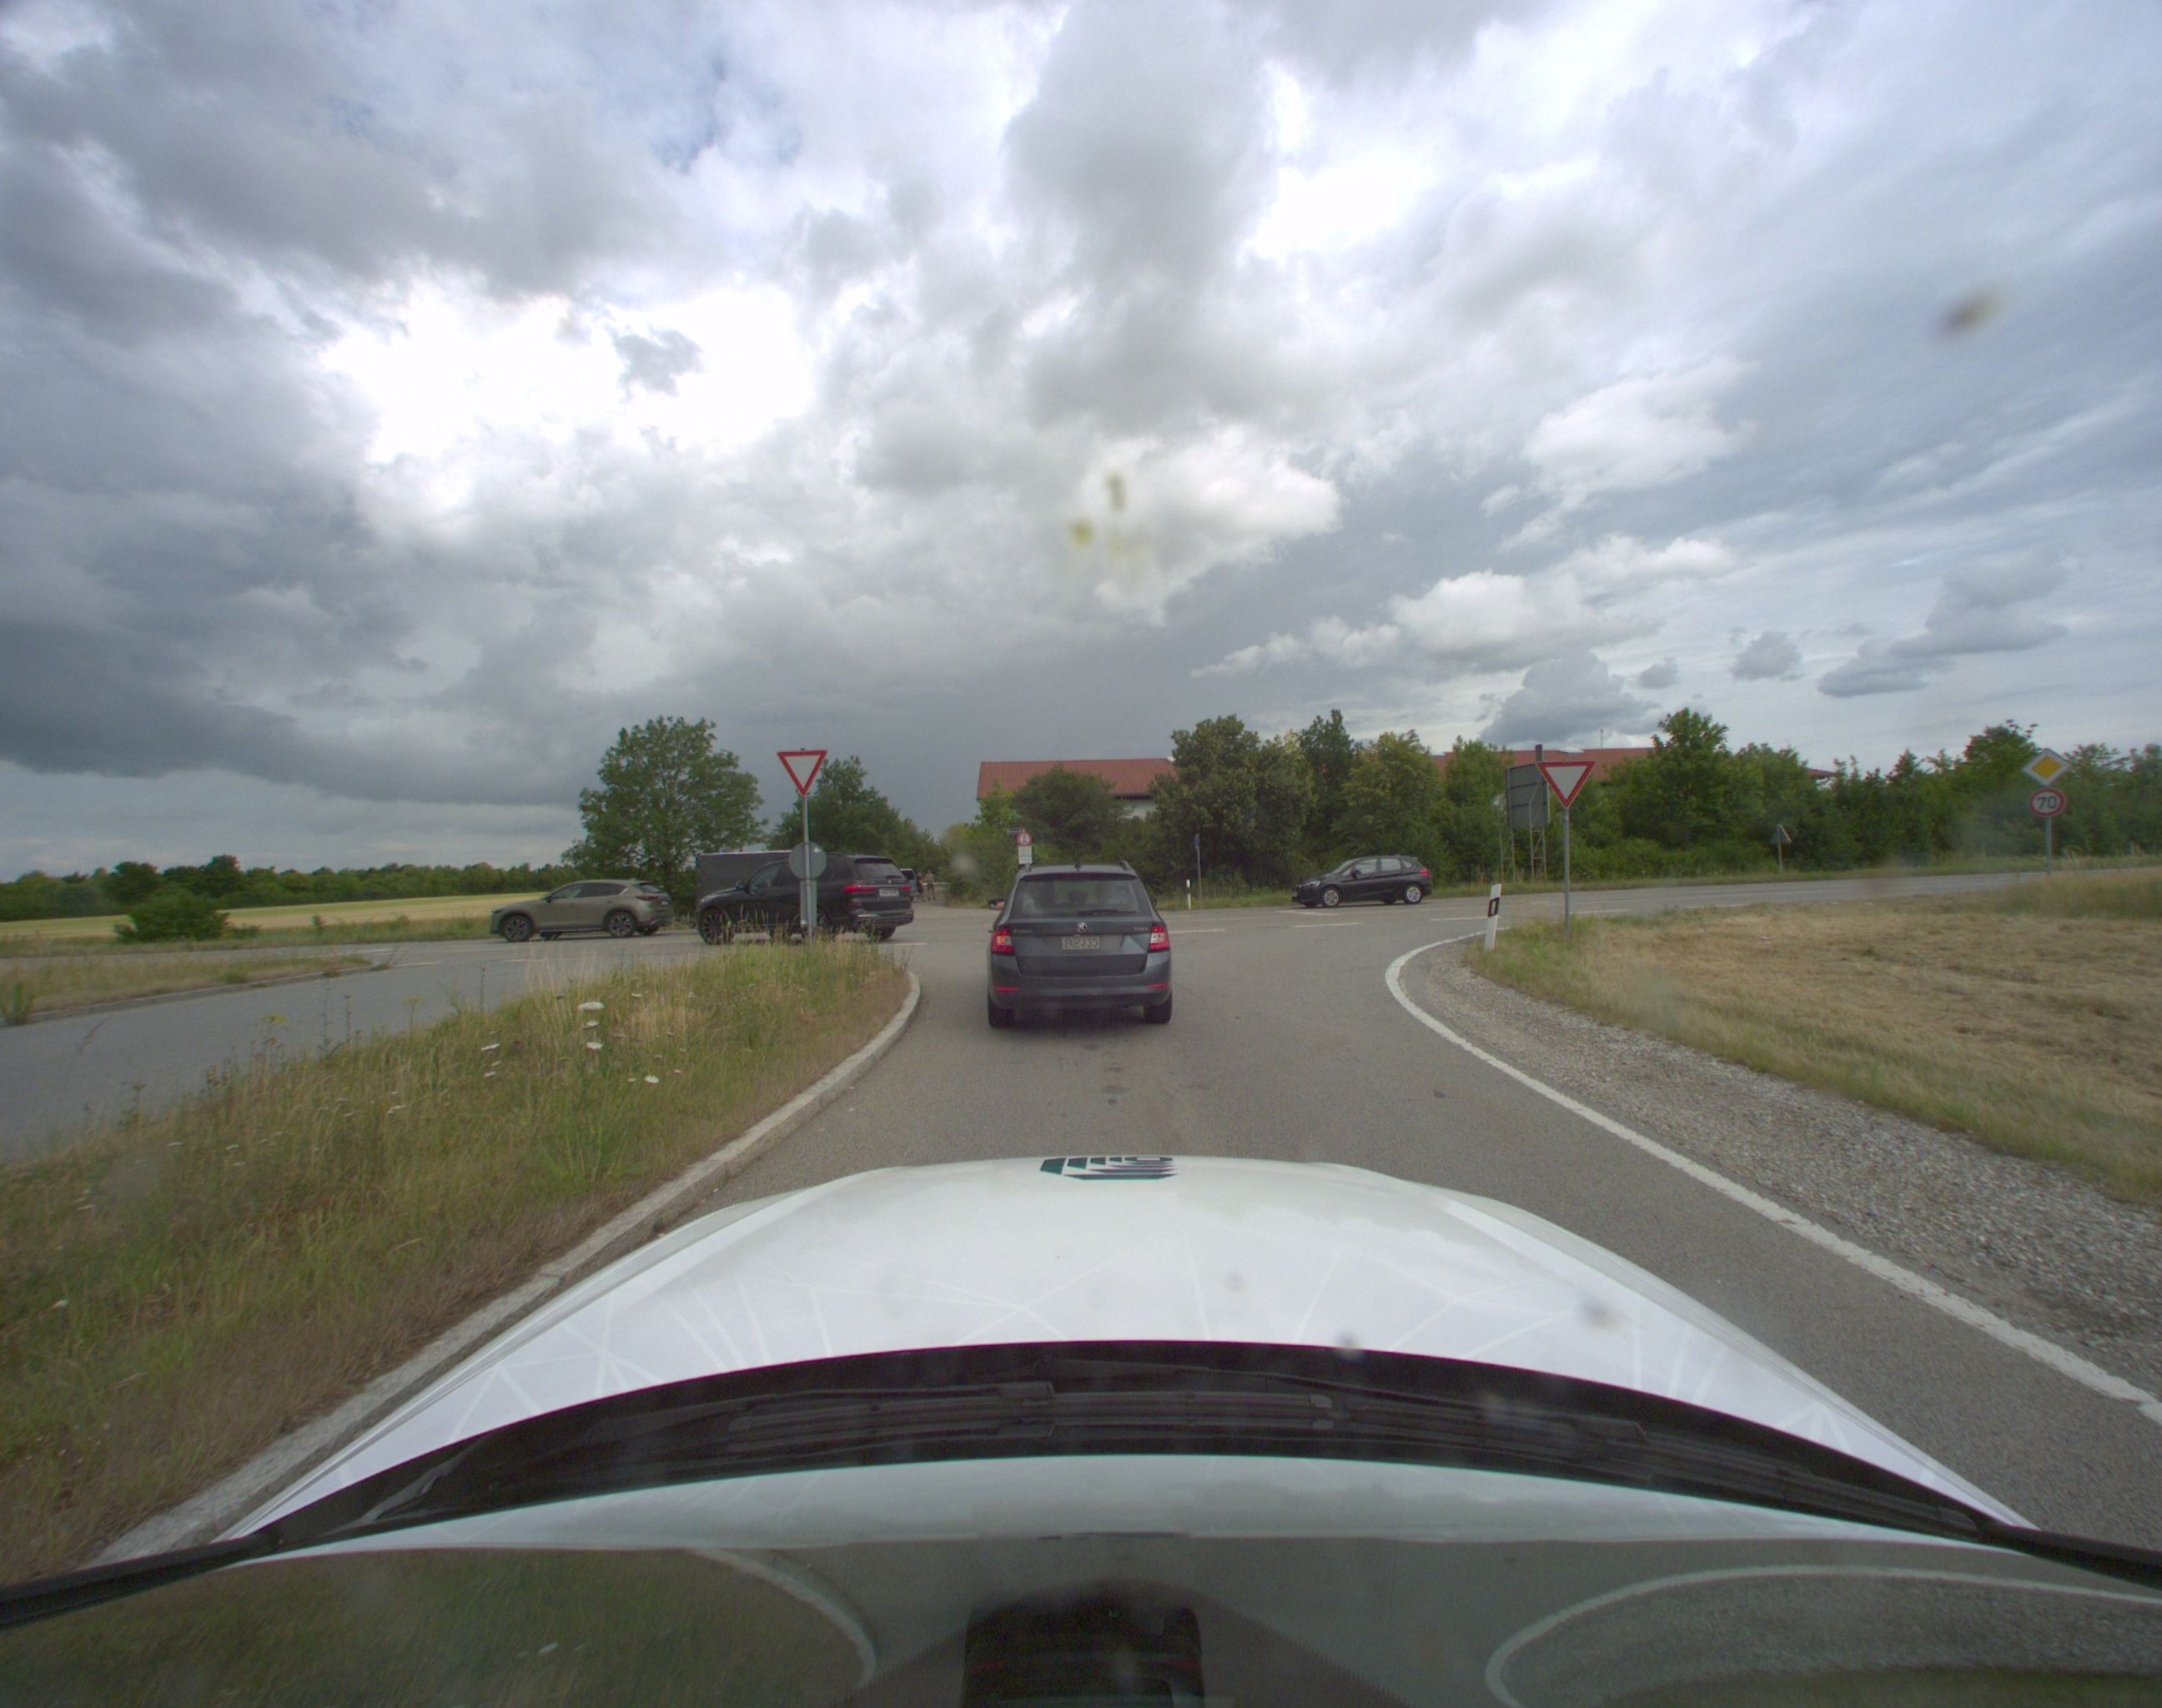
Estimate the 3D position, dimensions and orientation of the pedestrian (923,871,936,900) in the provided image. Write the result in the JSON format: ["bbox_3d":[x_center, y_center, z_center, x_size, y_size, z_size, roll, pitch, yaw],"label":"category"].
[{"bbox_3d":[-9.097,1.877,48.927,0.587,1.682,0.561,-3,0,-28],"label":"pedestrian"}]

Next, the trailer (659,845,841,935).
[{"bbox_3d":[-9.543,1.027,23.902,4.379,2.292,2.410,-3,-2,-8],"label":"trailer"}]

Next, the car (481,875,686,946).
[{"bbox_3d":[-13.954,1.542,23.108,4.462,1.682,1.994,-3,-2,-9],"label":"car"}]

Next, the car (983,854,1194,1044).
[{"bbox_3d":[-0.076,0.782,8.396,1.673,1.463,3.701,-1,-1,-5],"label":"car"}]

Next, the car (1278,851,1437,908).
[{"bbox_3d":[8.644,0.796,25.686,4.283,1.487,1.995,-3,-1,-7],"label":"car"}]

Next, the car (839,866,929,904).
[{"bbox_3d":[-11.614,1.843,47.895,4.851,2.013,2.357,-3,0,34],"label":"car"}]

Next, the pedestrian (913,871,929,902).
[{"bbox_3d":[-9.306,1.902,47.324,0.523,1.725,0.646,-3,0,33],"label":"pedestrian"}]

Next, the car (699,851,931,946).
[{"bbox_3d":[-5.668,0.930,17.234,4.584,1.774,2.012,-3,-1,29],"label":"car"}]
